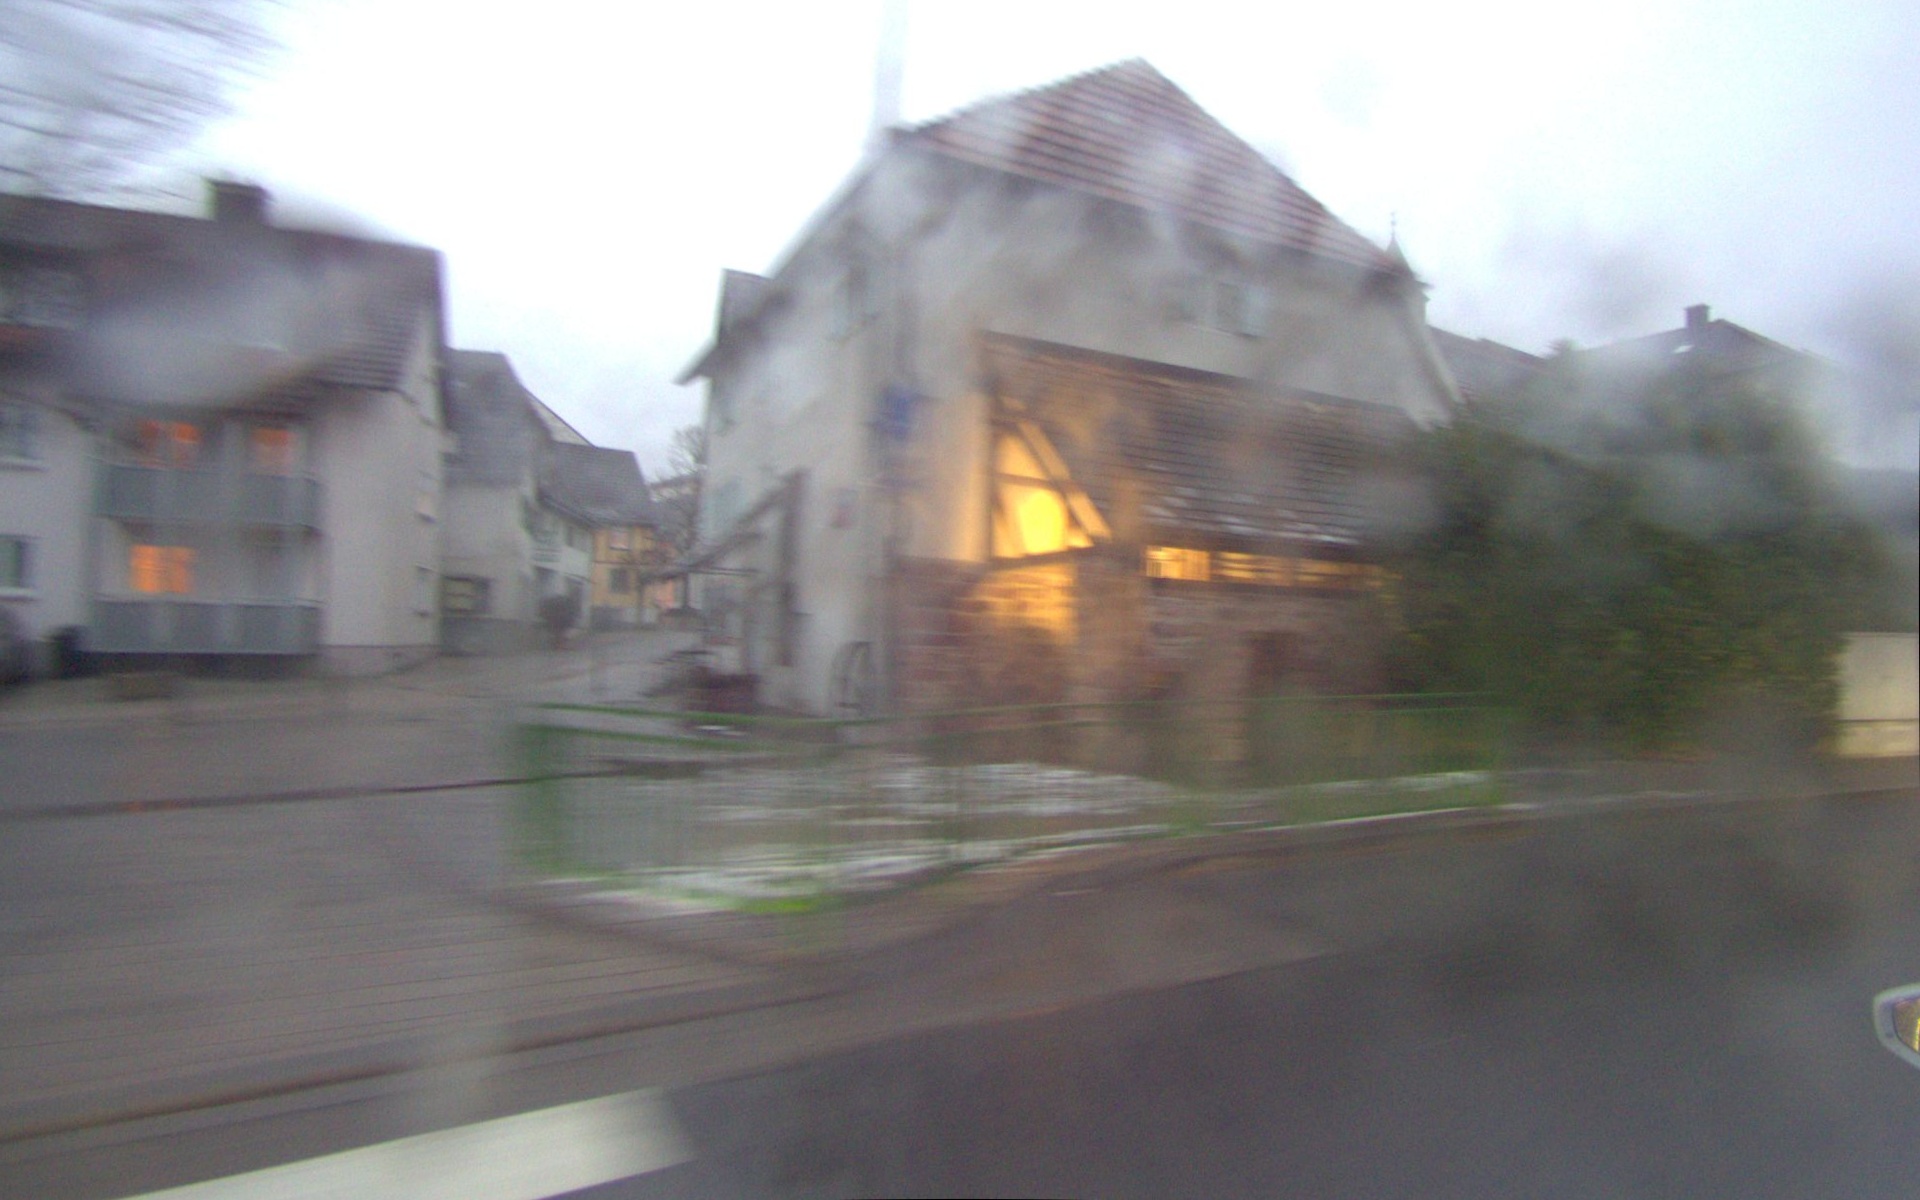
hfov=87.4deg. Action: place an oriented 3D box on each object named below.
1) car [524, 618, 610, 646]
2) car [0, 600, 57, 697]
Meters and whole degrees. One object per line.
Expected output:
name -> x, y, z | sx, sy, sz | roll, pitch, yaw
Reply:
car -> -15.502, 1.262, 39.728 | 2.985, 1.012, 1.421 | 1, 1, -15
car -> -17.846, 0.848, 17.838 | 1.690, 1.633, 3.587 | 1, 1, -25
